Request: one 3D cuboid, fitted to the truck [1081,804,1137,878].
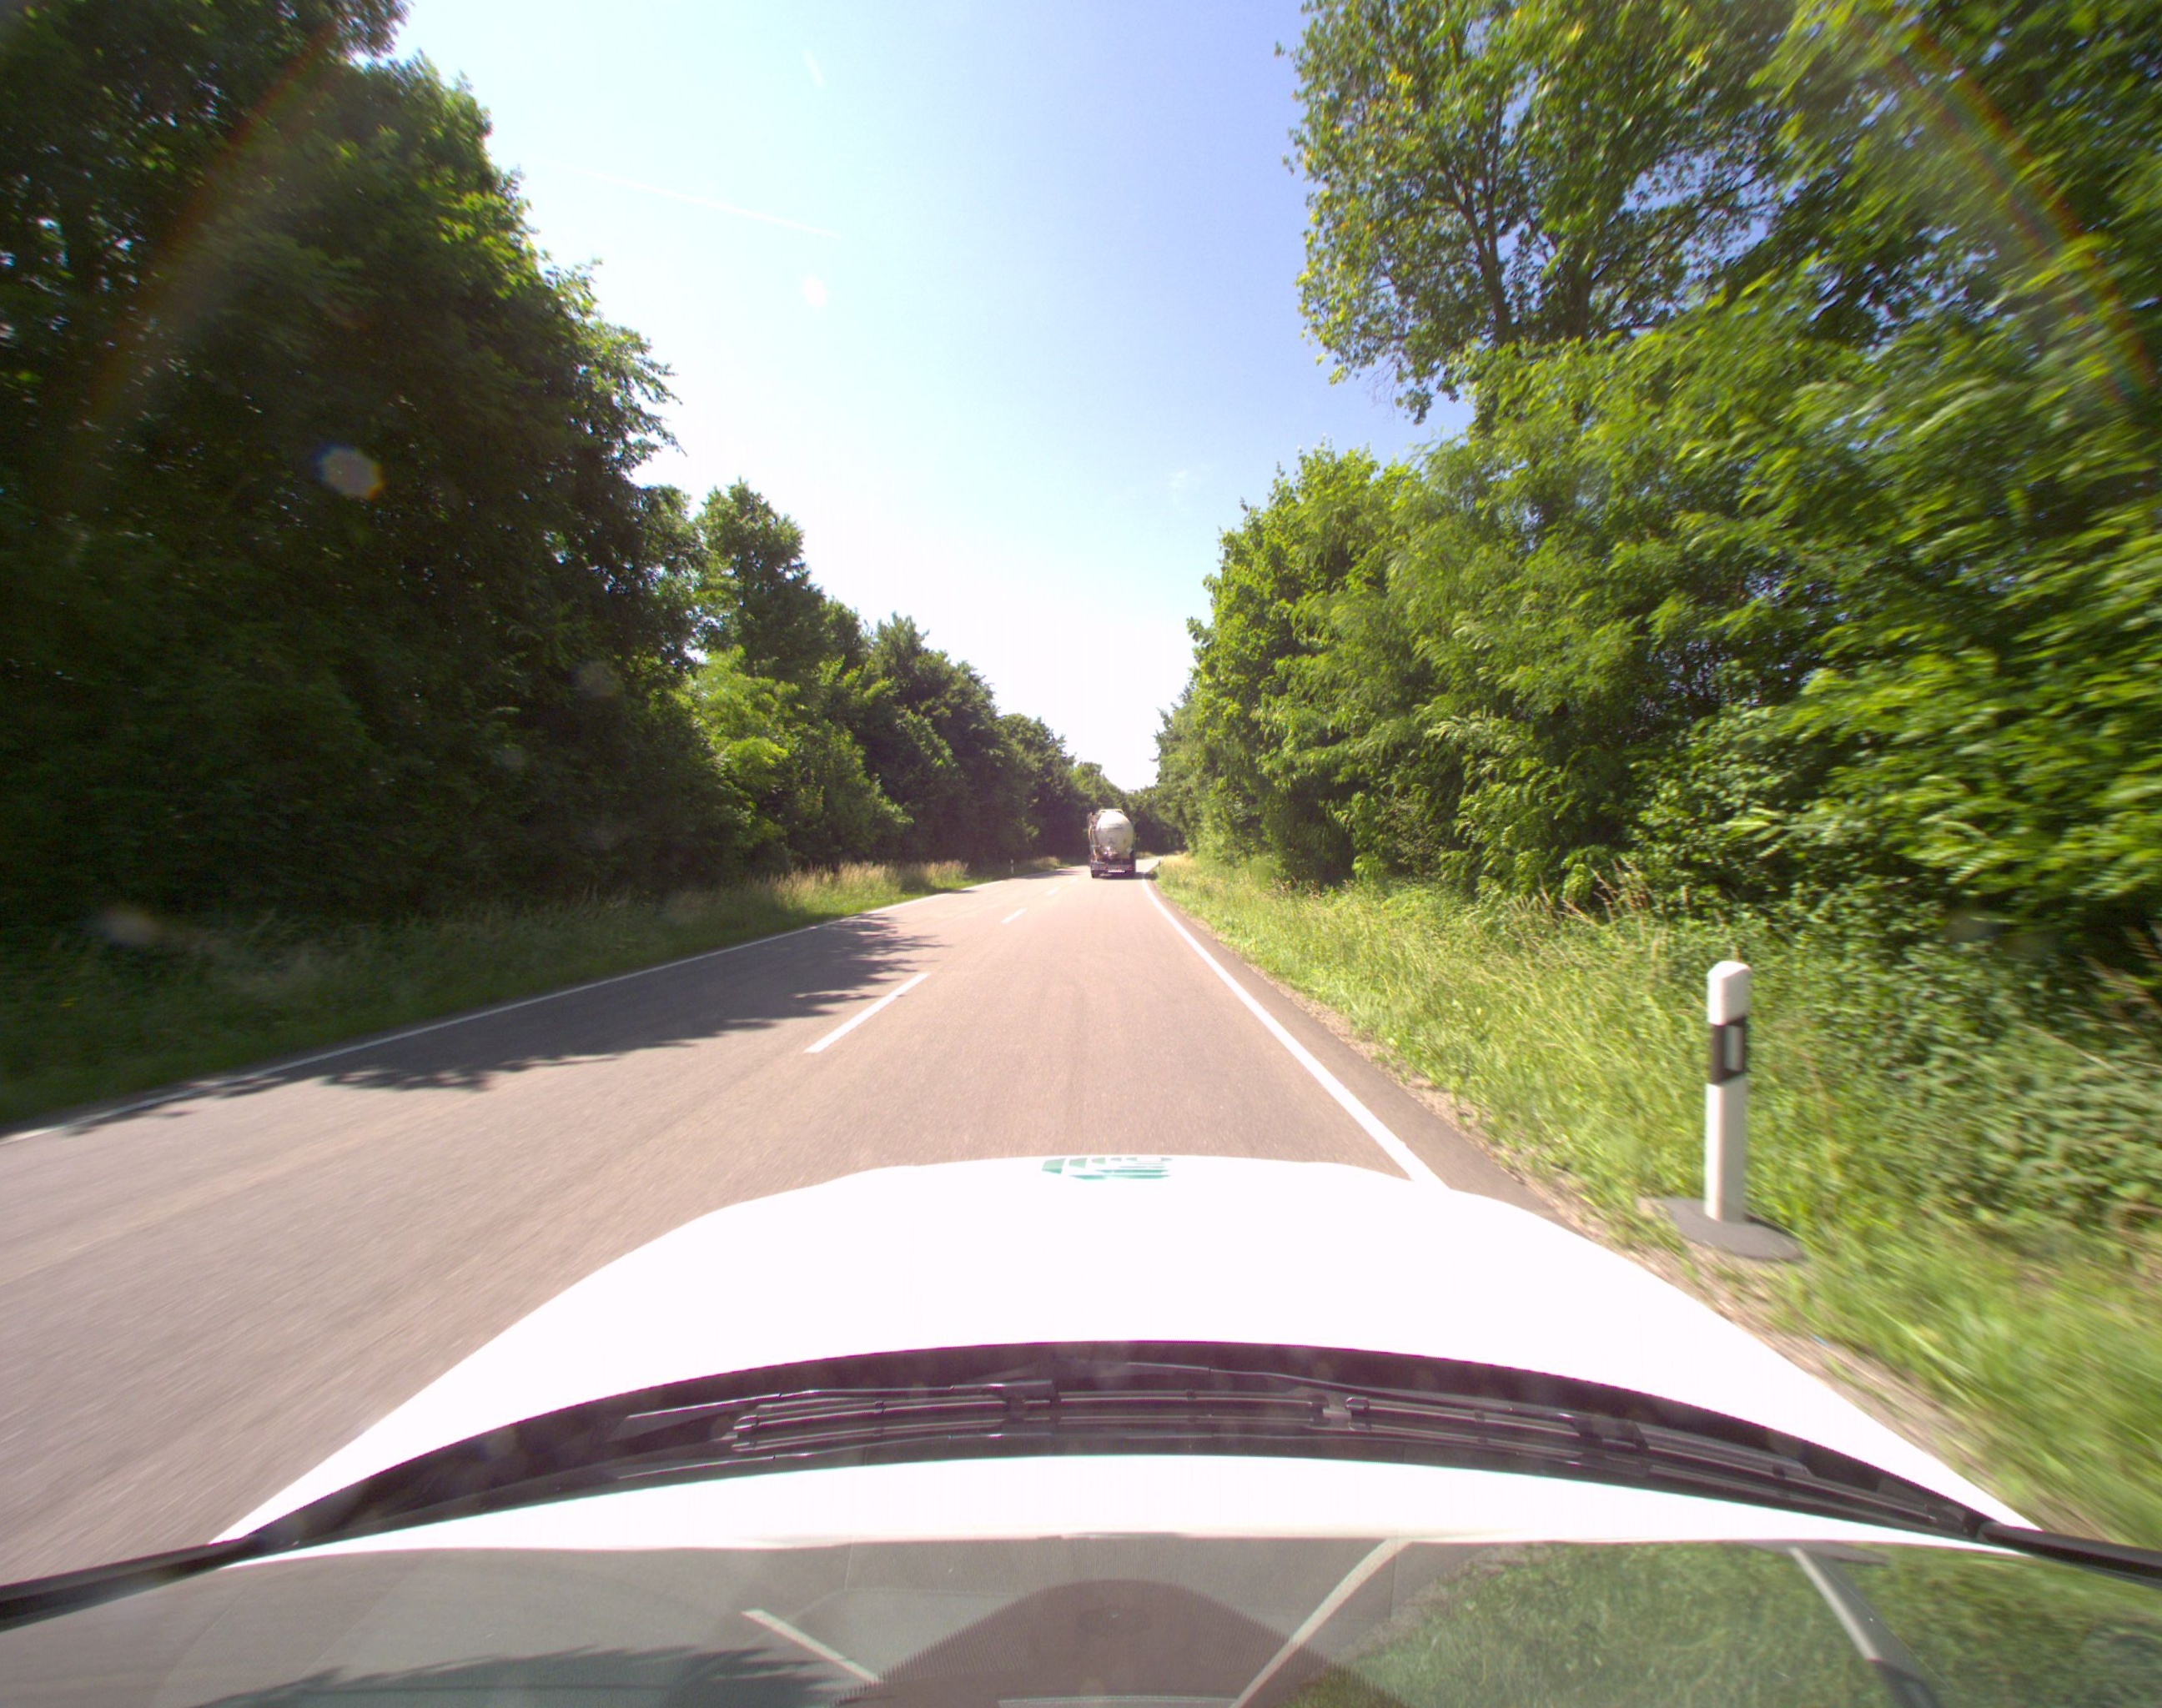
[{"bbox_3d":[1.853,-0.760,52.550,3.037,3.998,15.645,-1,0,2],"label":"truck"}]
